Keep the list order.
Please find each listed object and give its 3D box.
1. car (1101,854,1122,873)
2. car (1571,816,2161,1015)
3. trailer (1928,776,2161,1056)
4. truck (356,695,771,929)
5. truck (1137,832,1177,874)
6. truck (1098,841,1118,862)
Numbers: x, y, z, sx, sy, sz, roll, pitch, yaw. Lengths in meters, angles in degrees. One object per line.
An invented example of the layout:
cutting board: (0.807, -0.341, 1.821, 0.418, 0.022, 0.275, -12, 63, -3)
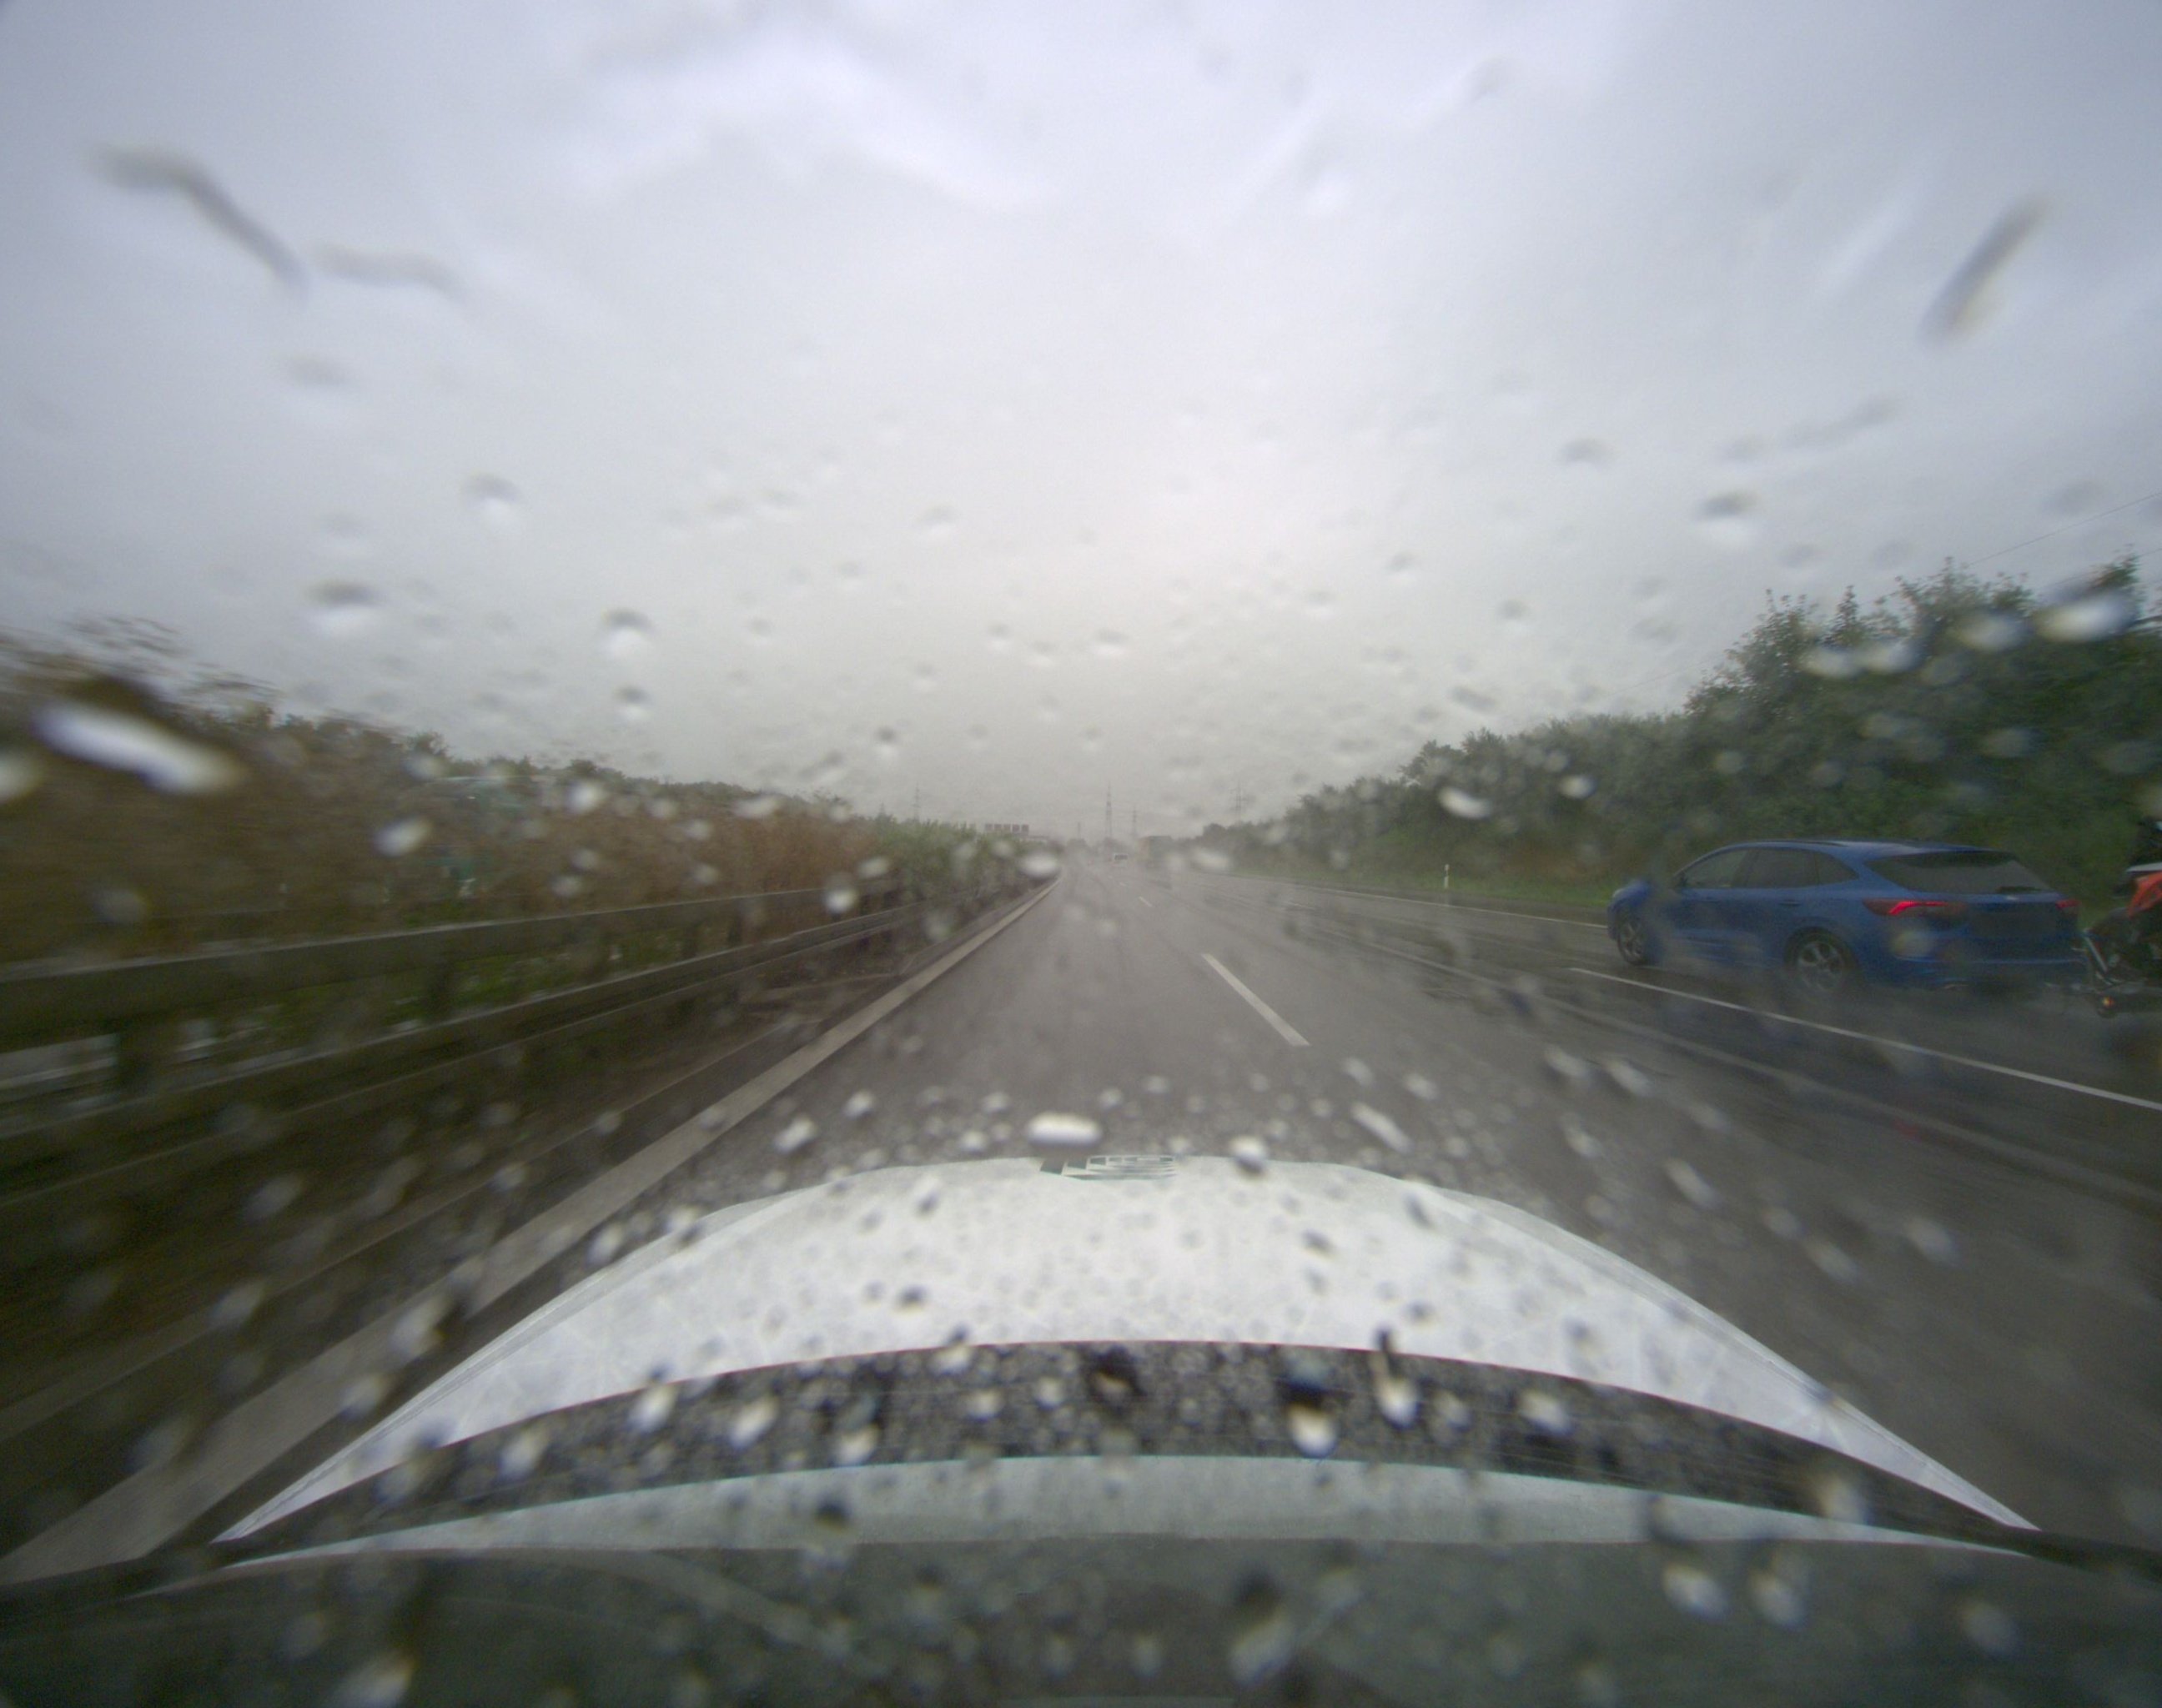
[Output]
car: (3.259, 1.040, 88.547, 1.988, 2.013, 3.997, -1, 0, -2)
car: (8.000, 0.535, 9.234, 1.986, 1.619, 4.994, -1, -1, 2)
trailer: (7.878, 0.382, 5.041, 1.972, 1.785, 3.190, -1, -1, 1)
truck: (-16.699, -1.106, 29.456, 4.096, 6.125, 16.013, -1, 0, 3)
truck: (9.127, -0.033, 100.002, 4.171, 4.630, 16.117, -1, -1, 3)
truck: (5.589, -0.455, 169.600, 3.227, 4.311, 8.820, -1, 0, -5)
